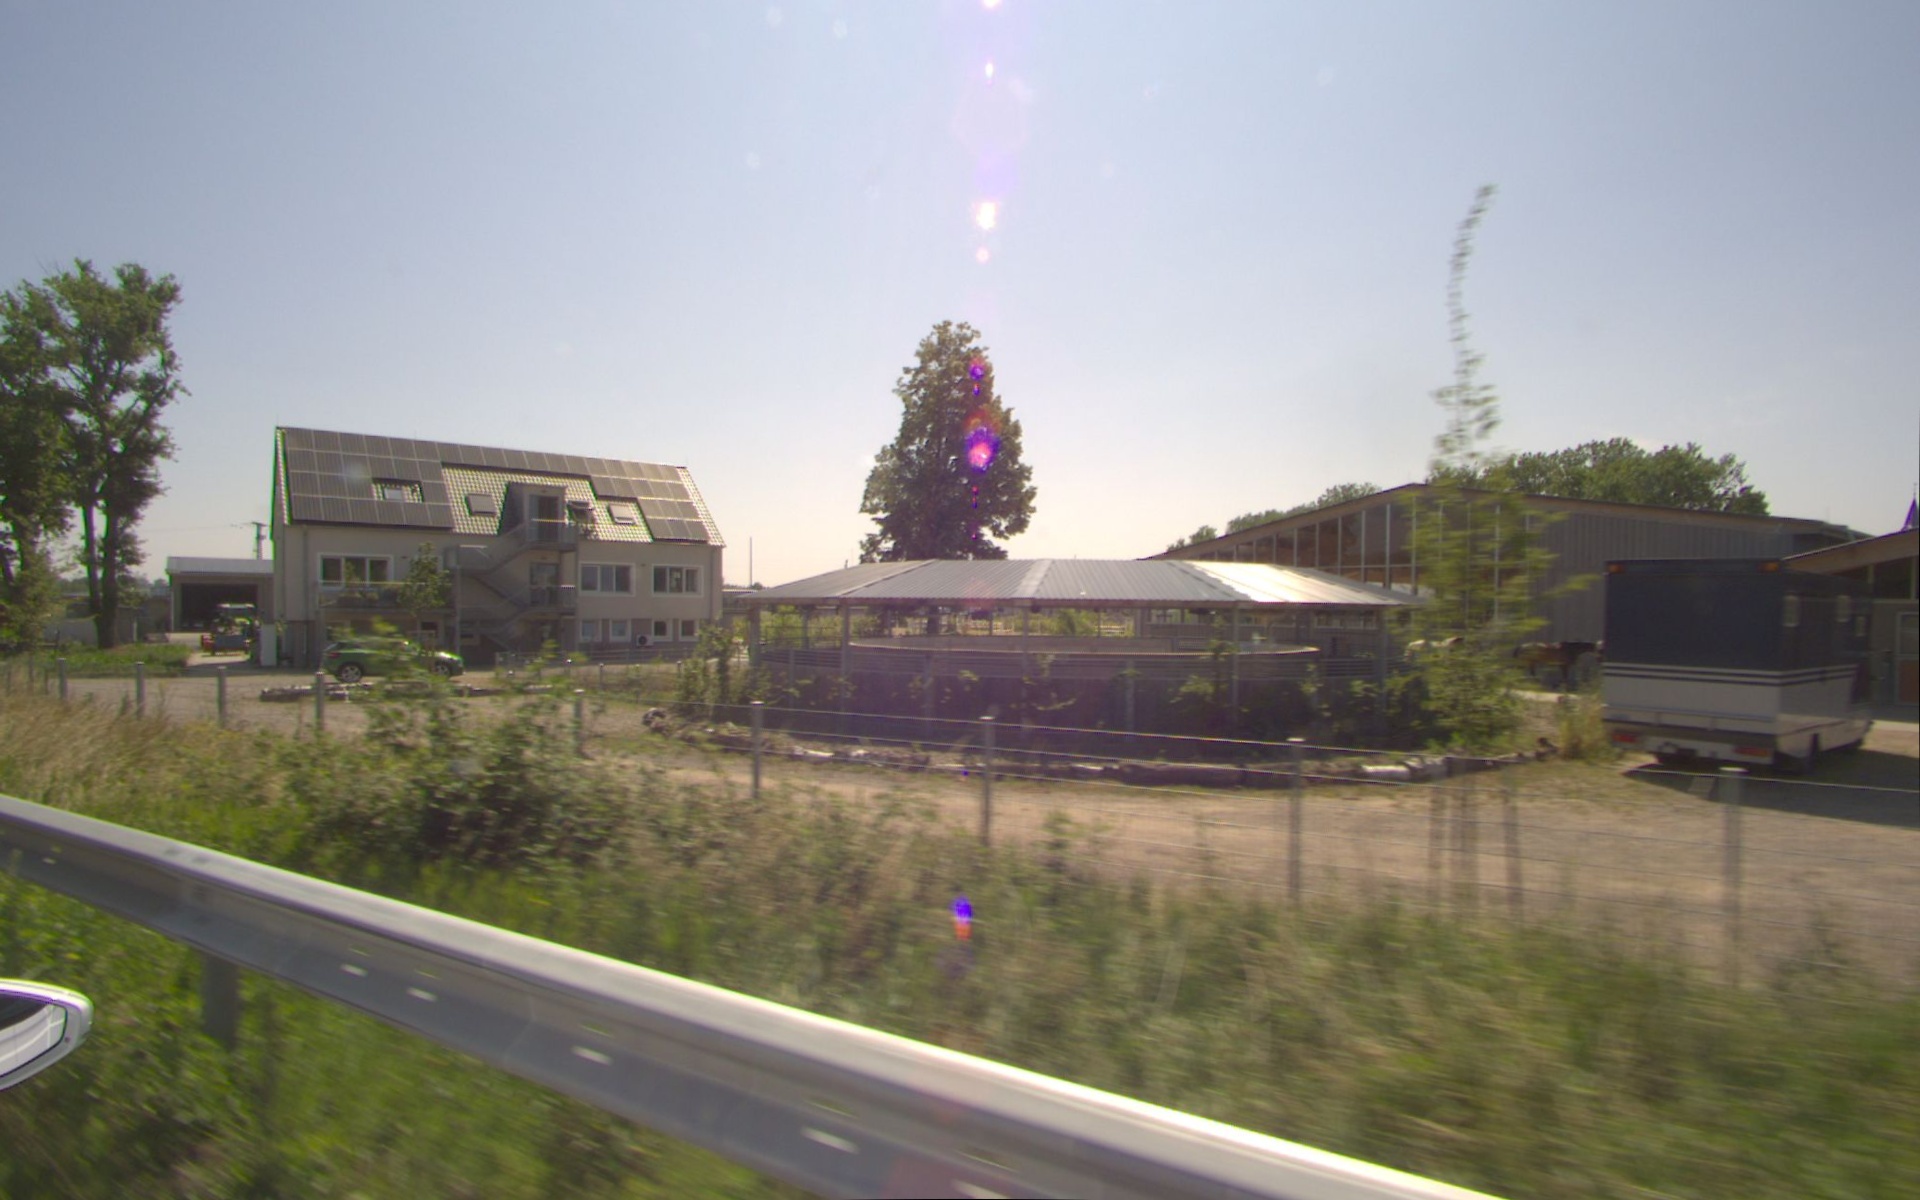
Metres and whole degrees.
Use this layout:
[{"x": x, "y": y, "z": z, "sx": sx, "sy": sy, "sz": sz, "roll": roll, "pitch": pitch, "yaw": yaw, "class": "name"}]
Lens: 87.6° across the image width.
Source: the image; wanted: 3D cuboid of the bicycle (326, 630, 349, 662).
[{"x": -25.591, "y": 1.873, "z": 41.168, "sx": 0.705, "sy": 1.207, "sz": 1.956, "roll": 0, "pitch": 1, "yaw": -34, "class": "bicycle"}]

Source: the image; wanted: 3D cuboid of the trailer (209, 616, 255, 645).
[{"x": -38.736, "y": 1.654, "z": 53.337, "sx": 1.692, "sy": 1.515, "sz": 3.125, "roll": 1, "pitch": -2, "yaw": -31, "class": "trailer"}]

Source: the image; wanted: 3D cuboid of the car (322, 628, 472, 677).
[{"x": -19.467, "y": 1.823, "z": 34.677, "sx": 4.321, "sy": 1.600, "sz": 1.920, "roll": 3, "pitch": -3, "yaw": -37, "class": "car"}]

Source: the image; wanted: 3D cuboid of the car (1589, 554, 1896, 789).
[{"x": 15.584, "y": 1.234, "z": 19.607, "sx": 8.895, "sy": 3.700, "sz": 2.757, "roll": 2, "pitch": 0, "yaw": -39, "class": "car"}]

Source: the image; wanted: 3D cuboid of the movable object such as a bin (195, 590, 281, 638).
[{"x": -45.761, "y": 0.864, "z": 63.414, "sx": 6.428, "sy": 2.805, "sz": 2.989, "roll": 1, "pitch": -1, "yaw": 41, "class": "movable object such as a bin"}]
